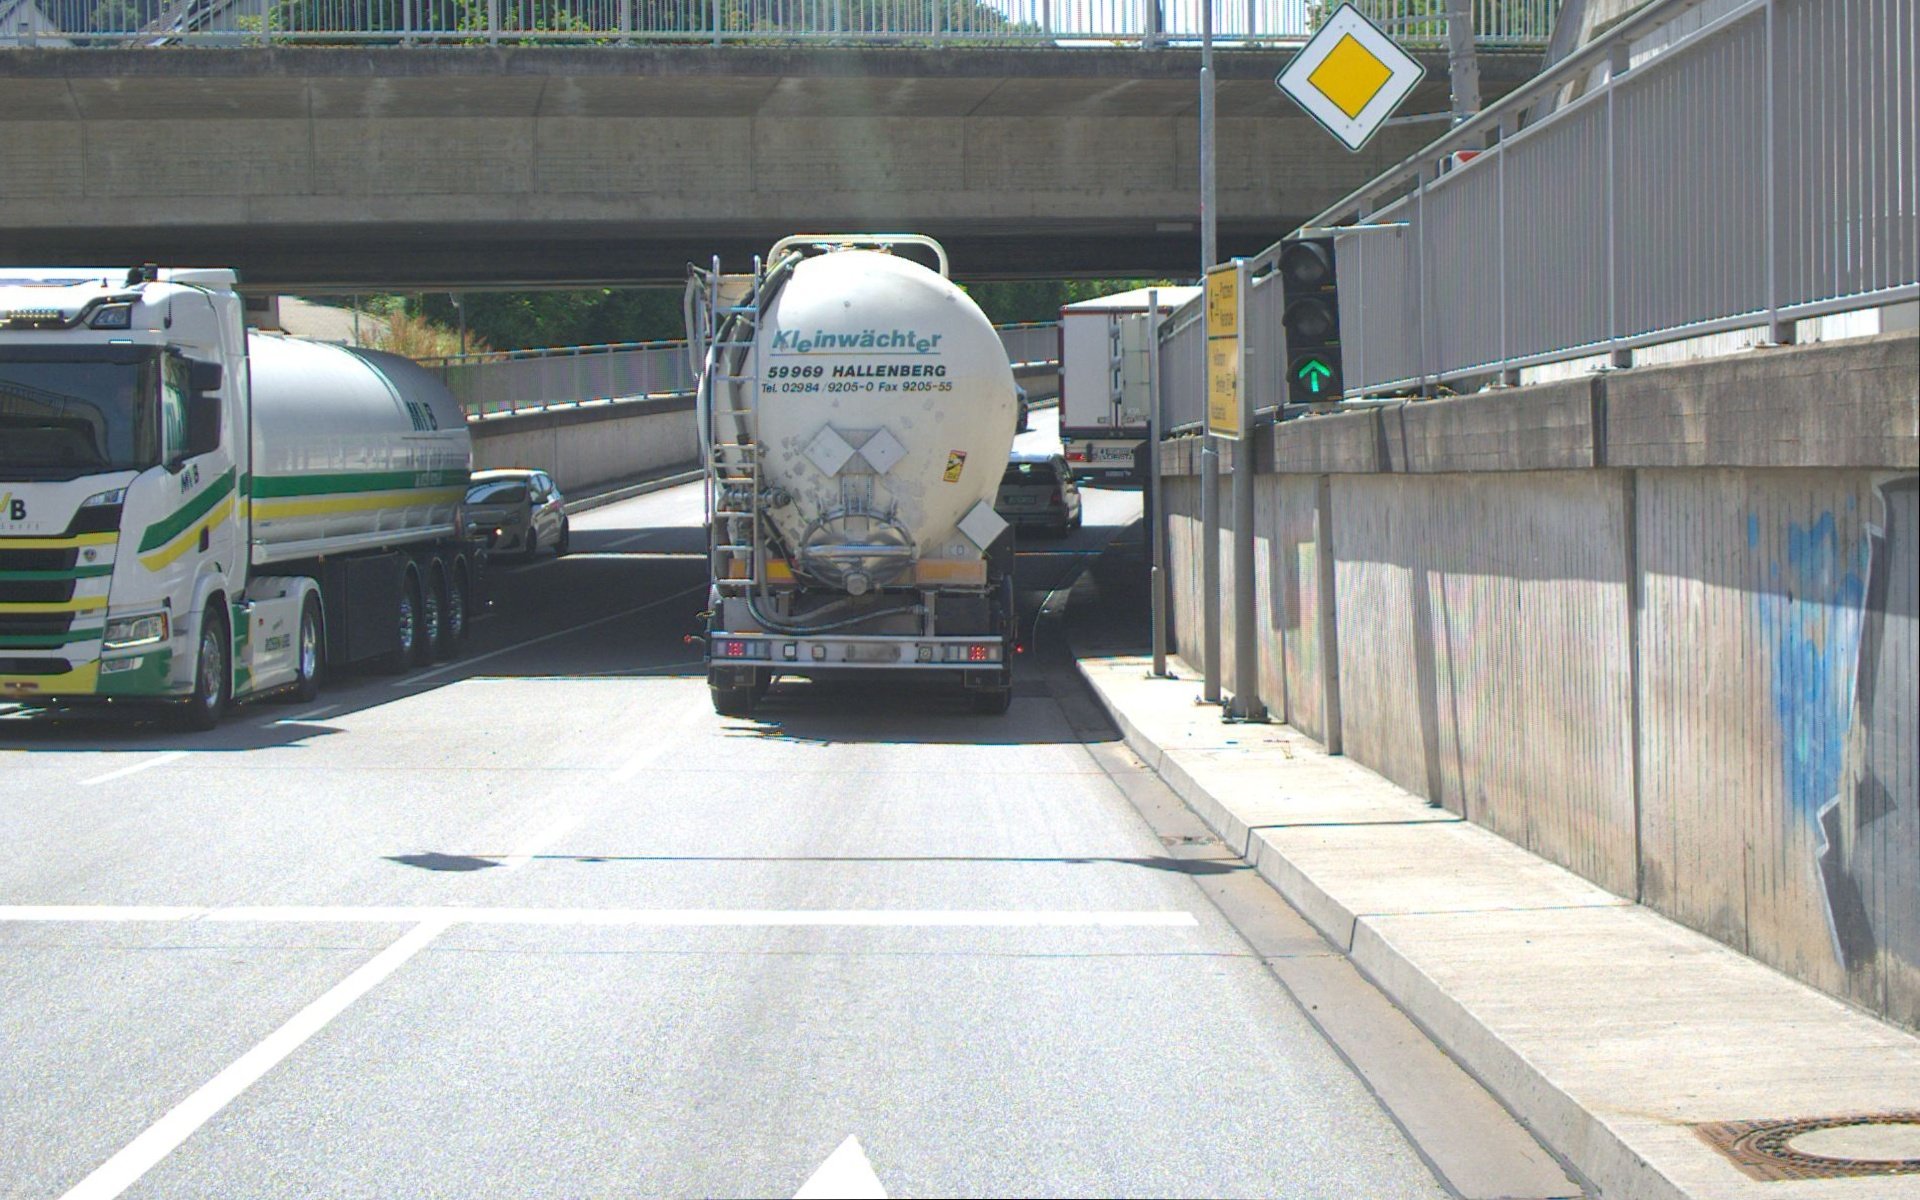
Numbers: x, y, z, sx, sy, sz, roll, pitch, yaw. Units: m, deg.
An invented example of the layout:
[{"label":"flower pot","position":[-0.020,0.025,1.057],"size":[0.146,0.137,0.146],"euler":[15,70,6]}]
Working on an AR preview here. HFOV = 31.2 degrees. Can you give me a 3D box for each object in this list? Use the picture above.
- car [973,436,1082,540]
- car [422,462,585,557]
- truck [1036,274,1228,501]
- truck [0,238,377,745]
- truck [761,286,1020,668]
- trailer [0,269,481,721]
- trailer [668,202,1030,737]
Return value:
[{"label":"car","position":[1.306,-2.142,64.713],"size":[1.882,1.633,4.001],"euler":[1,6,3]},{"label":"car","position":[-7.748,-1.570,58.674],"size":[1.780,1.461,3.832],"euler":[0,4,8]},{"label":"truck","position":[4.186,-5.018,81.083],"size":[3.082,4.982,10.080],"euler":[2,4,11]},{"label":"truck","position":[-6.960,-0.873,28.574],"size":[2.689,3.651,7.369],"euler":[1,1,2]},{"label":"truck","position":[-0.710,-1.401,39.833],"size":[2.735,4.050,6.530],"euler":[0,2,1]},{"label":"trailer","position":[-6.808,-0.965,33.016],"size":[2.689,3.651,9.889],"euler":[1,1,2]},{"label":"trailer","position":[-0.781,-1.182,32.788],"size":[2.735,4.050,13.314],"euler":[0,2,1]}]
